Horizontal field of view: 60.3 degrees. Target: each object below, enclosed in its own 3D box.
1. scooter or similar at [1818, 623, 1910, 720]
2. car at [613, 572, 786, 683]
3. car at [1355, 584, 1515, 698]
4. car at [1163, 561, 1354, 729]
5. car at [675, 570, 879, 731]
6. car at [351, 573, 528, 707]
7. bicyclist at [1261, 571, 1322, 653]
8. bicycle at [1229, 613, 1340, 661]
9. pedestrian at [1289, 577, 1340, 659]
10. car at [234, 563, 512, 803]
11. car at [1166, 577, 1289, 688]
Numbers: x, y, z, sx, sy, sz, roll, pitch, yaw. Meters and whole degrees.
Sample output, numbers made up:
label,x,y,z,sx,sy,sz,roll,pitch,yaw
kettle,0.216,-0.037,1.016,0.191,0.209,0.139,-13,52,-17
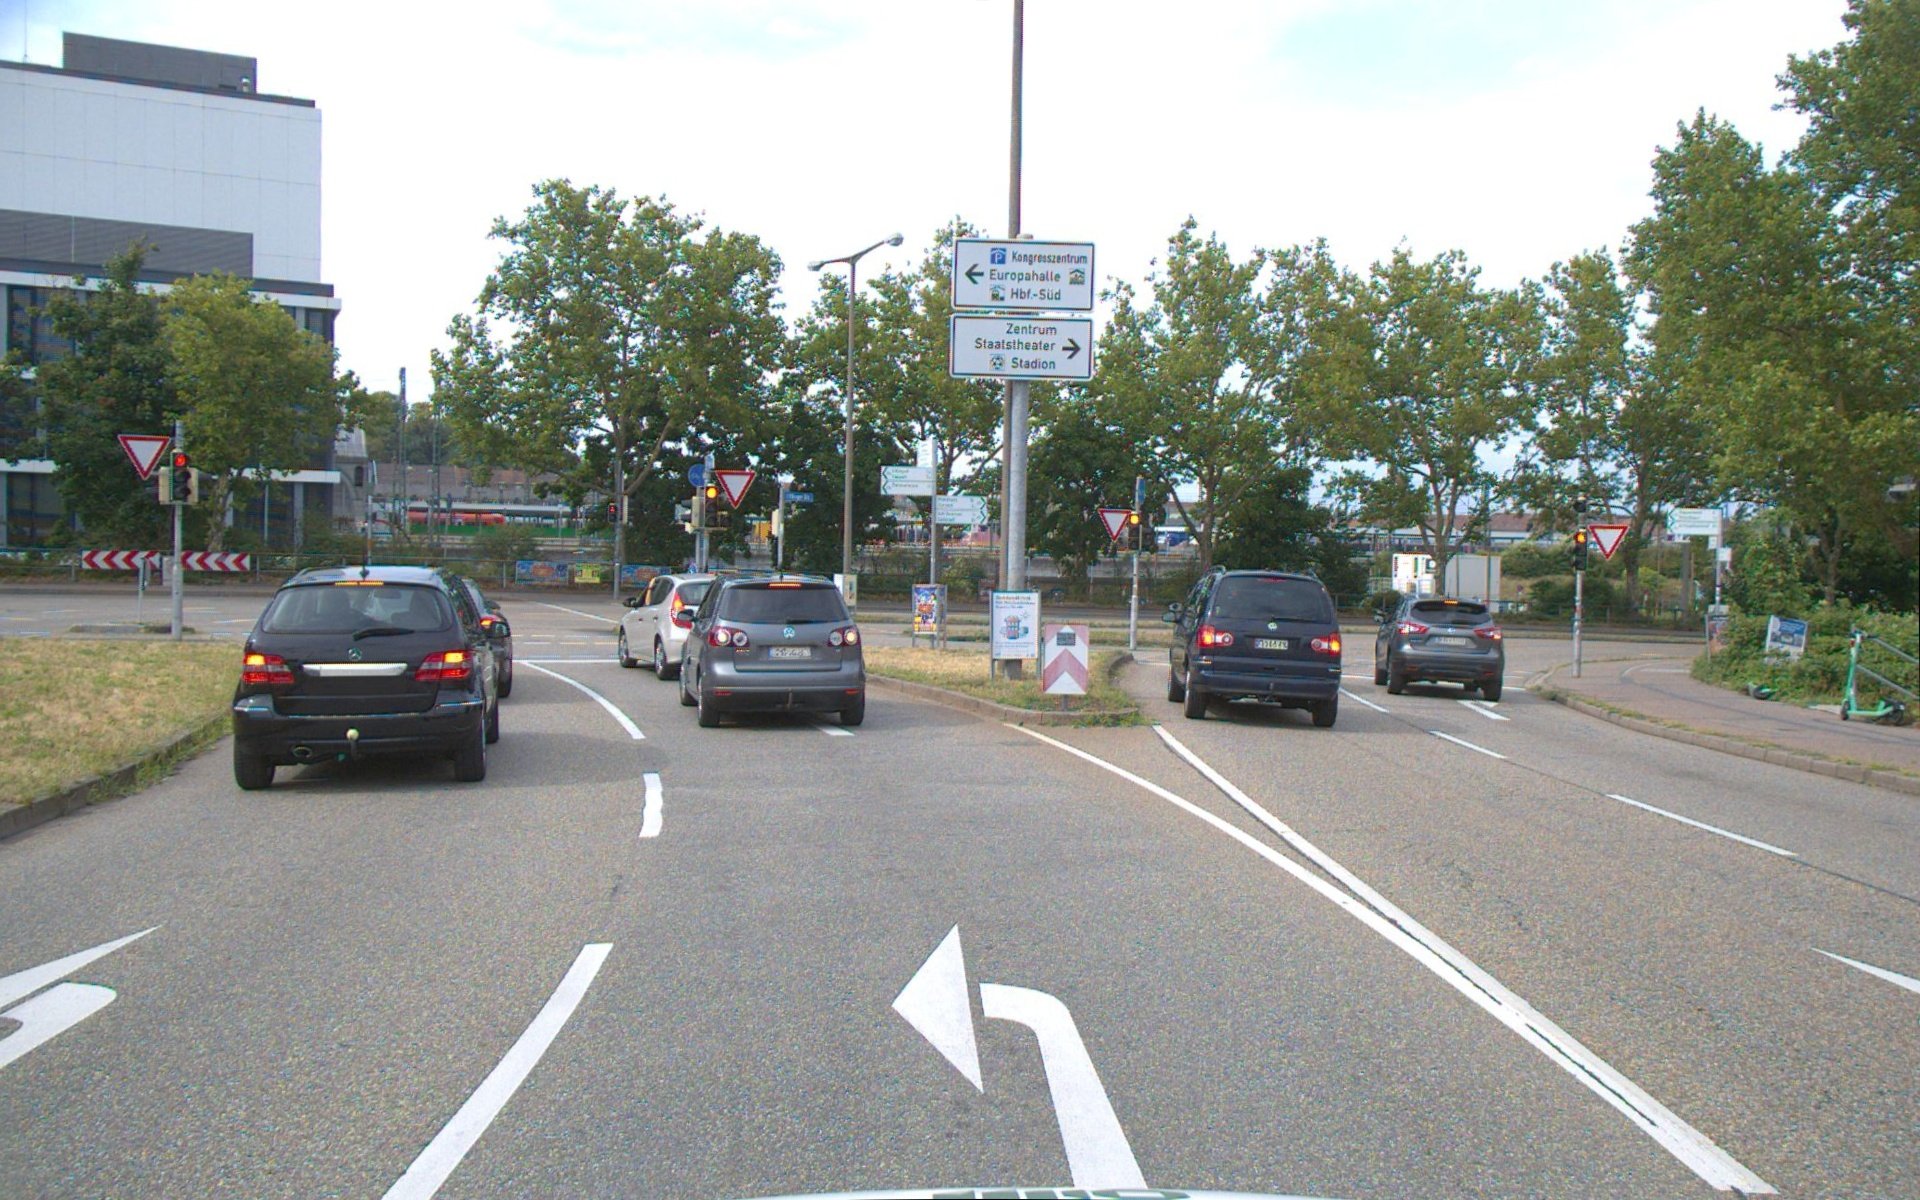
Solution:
label,x,y,z,sx,sy,sz,roll,pitch,yaw
scooter or similar,11.750,0.909,21.533,0.389,1.204,1.278,0,0,-7
car,-3.985,0.348,24.823,1.717,1.508,4.055,0,1,-22
car,7.816,0.625,27.593,1.714,1.671,4.140,3,0,5
car,3.517,0.484,20.158,1.714,1.755,4.139,3,0,3
car,-2.137,0.471,18.343,1.712,1.573,4.067,0,1,-14
car,-6.675,0.424,20.891,1.793,1.438,4.746,1,1,-22
bicyclist,7.018,0.243,35.089,1.090,1.726,0.813,0,1,-3
bicycle,6.864,0.775,35.079,2.183,0.969,0.811,0,1,-3
pedestrian,7.779,0.381,36.286,1.025,1.740,0.854,2,1,11
car,-4.621,0.543,13.527,1.727,1.602,4.022,1,2,-14
car,4.345,0.491,27.370,1.655,1.613,4.159,3,0,5
